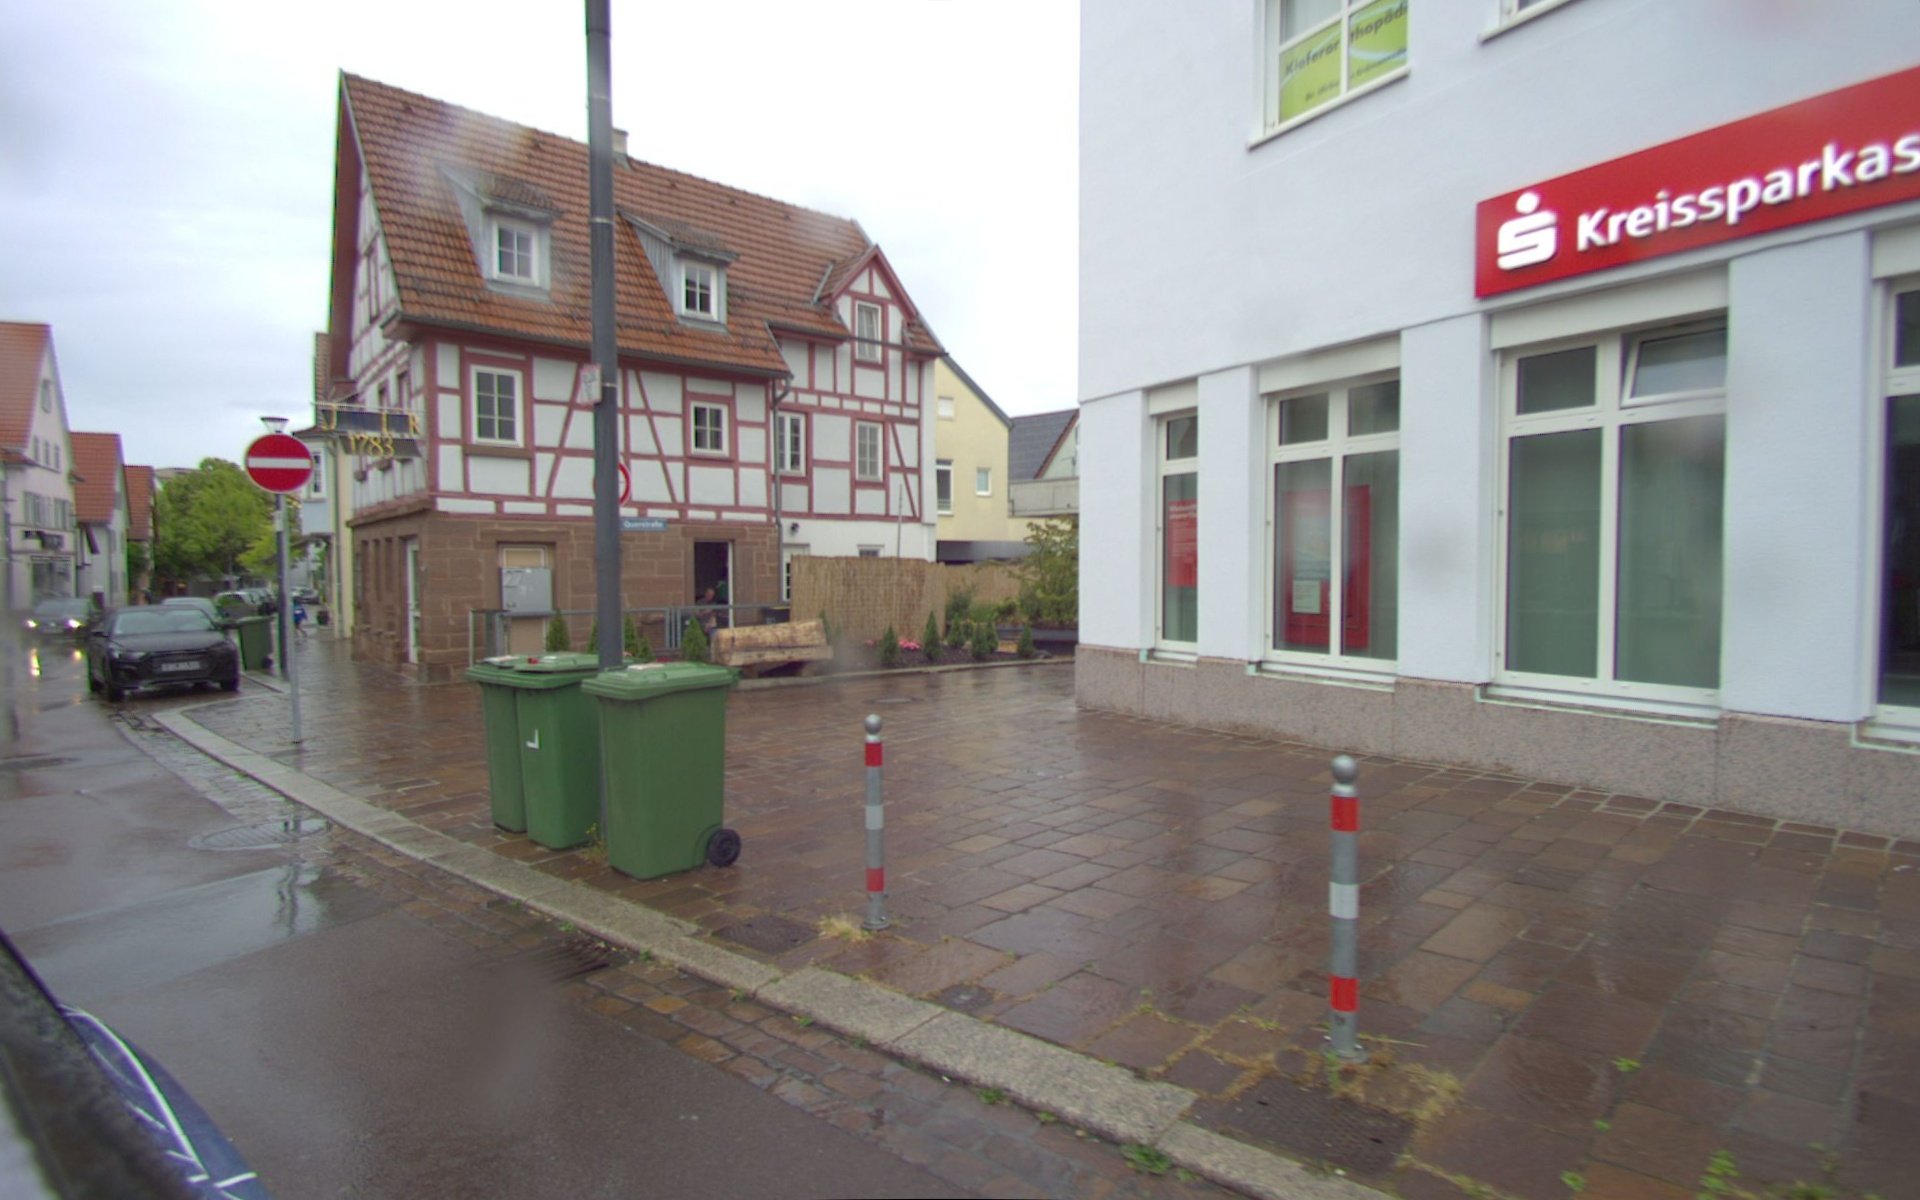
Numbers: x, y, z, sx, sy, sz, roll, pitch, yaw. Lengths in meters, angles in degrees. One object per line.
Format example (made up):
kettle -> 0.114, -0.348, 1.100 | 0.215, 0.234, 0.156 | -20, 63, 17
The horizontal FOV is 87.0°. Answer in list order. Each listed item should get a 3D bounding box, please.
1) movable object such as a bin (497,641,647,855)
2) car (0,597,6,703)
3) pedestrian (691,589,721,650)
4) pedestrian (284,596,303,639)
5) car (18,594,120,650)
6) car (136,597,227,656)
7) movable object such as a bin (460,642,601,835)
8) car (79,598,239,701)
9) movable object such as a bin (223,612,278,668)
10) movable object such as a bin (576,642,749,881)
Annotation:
movable object such as a bin -> -2.278, 0.823, 5.944 | 0.651, 1.123, 0.553 | -1, 0, -45
car -> -14.419, 0.742, 13.915 | 1.711, 1.567, 3.850 | -1, 0, -41
pedestrian -> -4.944, 0.378, 19.670 | 0.406, 1.163, 0.425 | -1, 0, -41
pedestrian -> -20.870, 0.553, 31.689 | 0.448, 1.317, 0.518 | -1, 0, -35
car -> -29.997, 0.684, 34.203 | 1.966, 1.763, 4.011 | -1, 1, -32
car -> -23.783, 0.749, 31.044 | 1.967, 1.540, 4.010 | -4, 3, -35
movable object such as a bin -> -2.697, 0.829, 6.360 | 0.651, 1.090, 0.553 | -1, 0, -45
car -> -13.695, 0.741, 17.220 | 1.670, 1.497, 4.002 | -2, 2, -45
movable object such as a bin -> -14.929, 0.820, 21.290 | 0.823, 1.120, 0.920 | -1, 1, -43
movable object such as a bin -> -1.560, 0.796, 5.320 | 0.613, 1.104, 0.651 | 0, 0, 43
